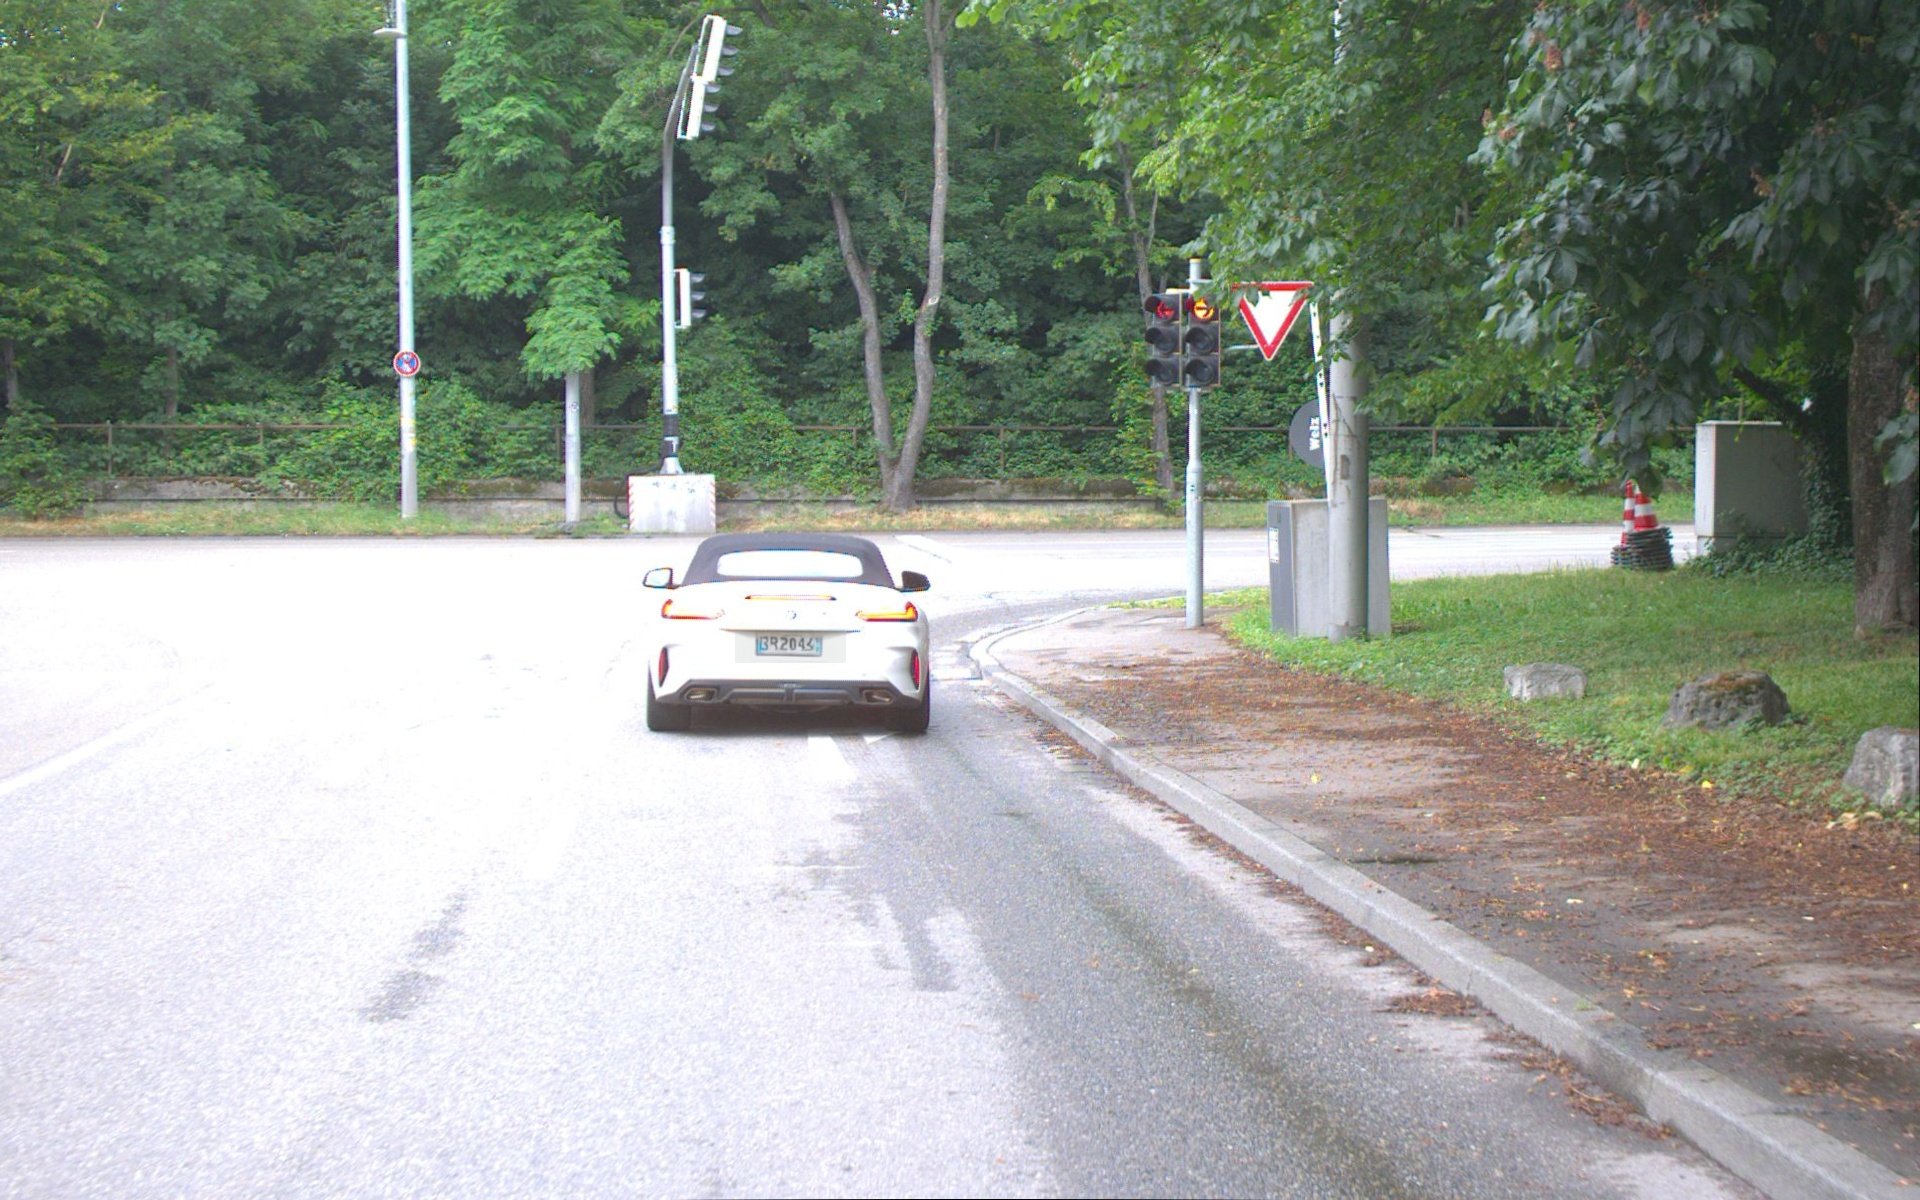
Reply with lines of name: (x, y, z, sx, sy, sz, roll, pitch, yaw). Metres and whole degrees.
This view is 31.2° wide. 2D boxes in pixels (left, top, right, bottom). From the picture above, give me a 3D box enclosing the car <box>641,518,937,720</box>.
car: (-1.265, 0.113, 23.763, 1.827, 1.253, 4.001, 1, 0, -6)
